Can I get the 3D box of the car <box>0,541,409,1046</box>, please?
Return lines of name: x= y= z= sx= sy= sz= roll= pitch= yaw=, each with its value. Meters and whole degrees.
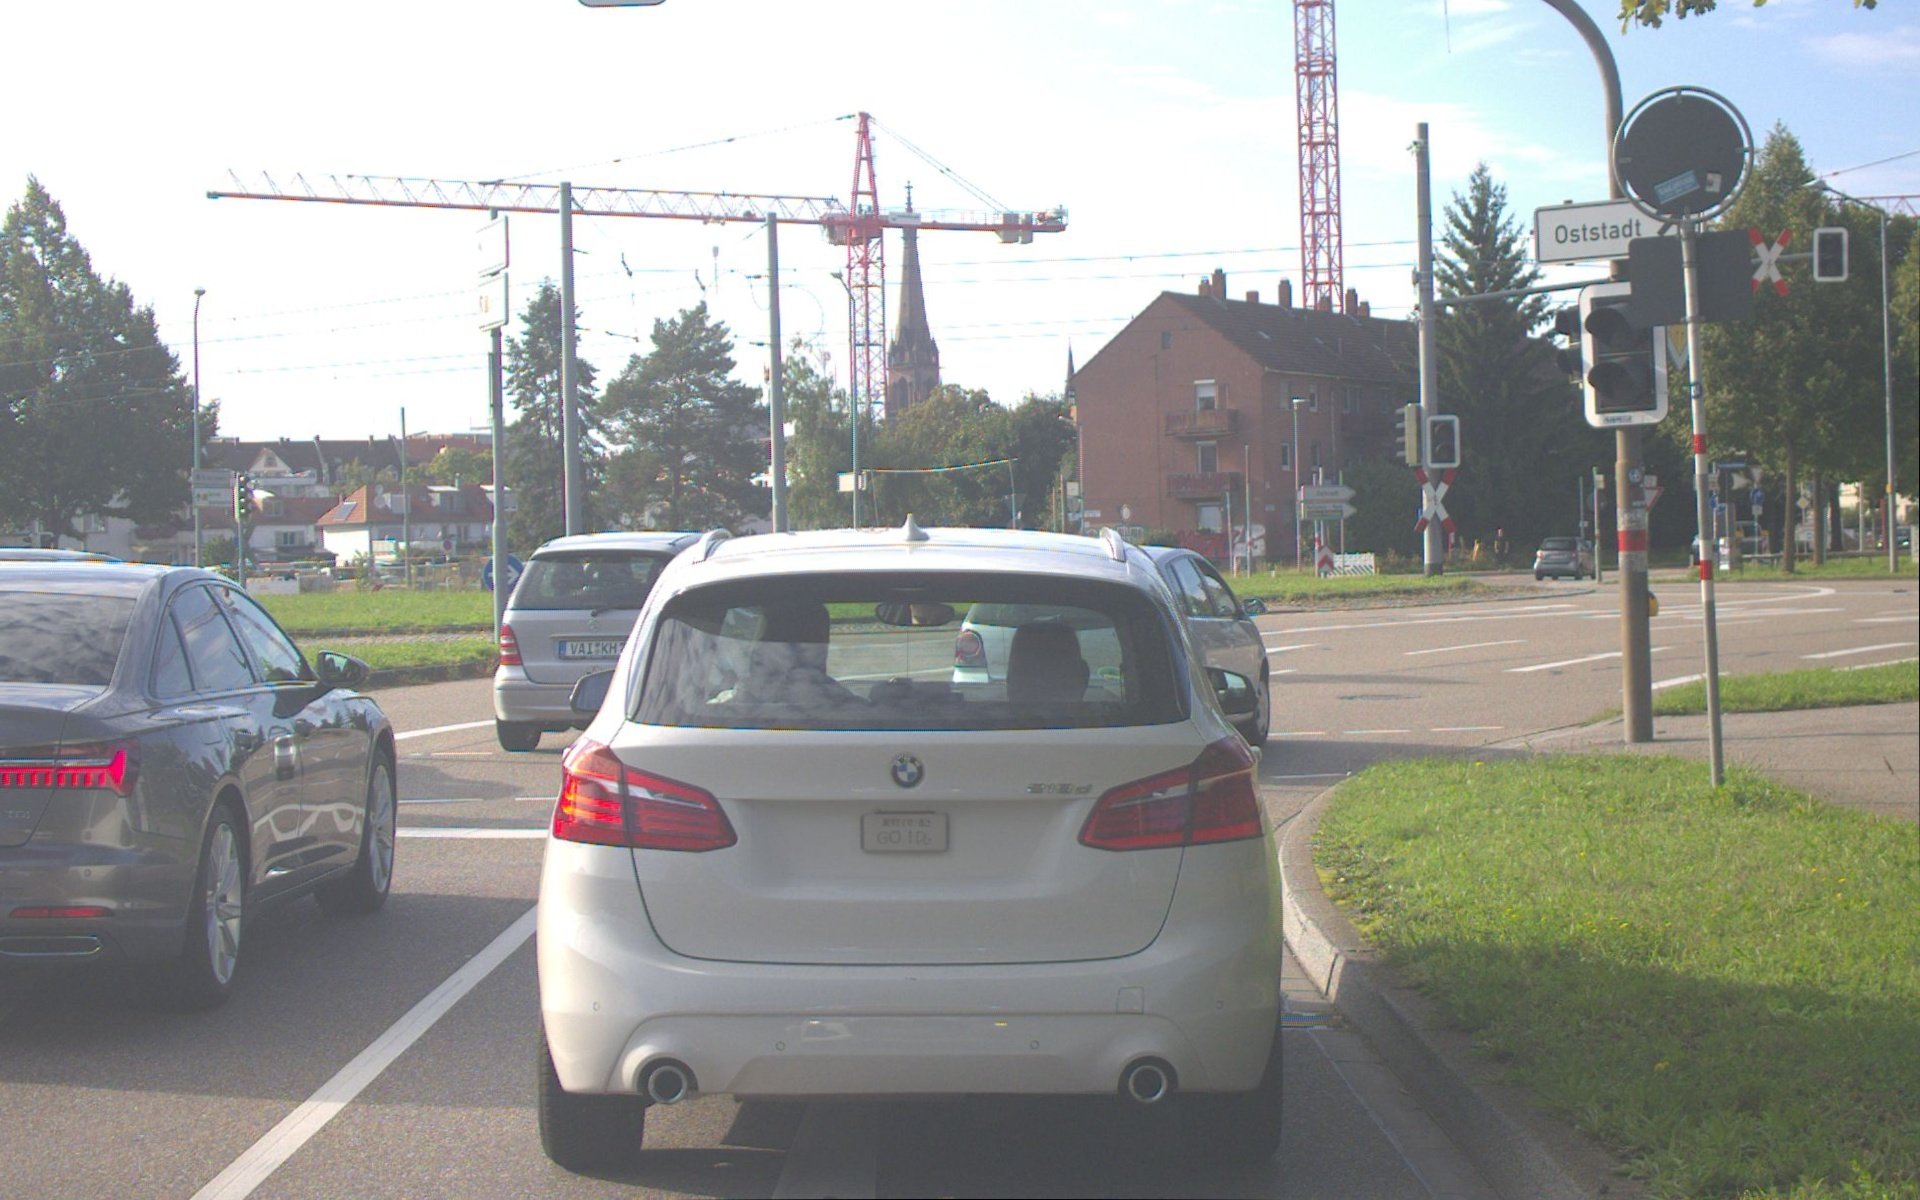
car: x=-3.265 y=0.547 z=12.355 sx=1.890 sy=1.478 sz=4.613 roll=0 pitch=0 yaw=-1

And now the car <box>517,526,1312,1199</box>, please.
car: x=-0.127 y=0.582 z=9.516 sx=1.729 sy=1.553 sz=4.058 roll=0 pitch=1 yaw=-1

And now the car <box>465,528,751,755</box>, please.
car: x=-2.532 y=0.252 z=25.540 sx=1.729 sy=1.553 sz=4.058 roll=0 pitch=1 yaw=0

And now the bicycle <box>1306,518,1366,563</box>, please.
bicycle: x=13.060 y=-2.069 z=119.509 sx=0.893 sy=1.525 sz=2.290 roll=1 pitch=0 yaw=-30

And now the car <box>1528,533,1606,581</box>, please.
car: x=21.591 y=-1.549 z=122.210 sx=1.573 sy=1.568 sz=3.193 roll=0 pitch=3 yaw=33
